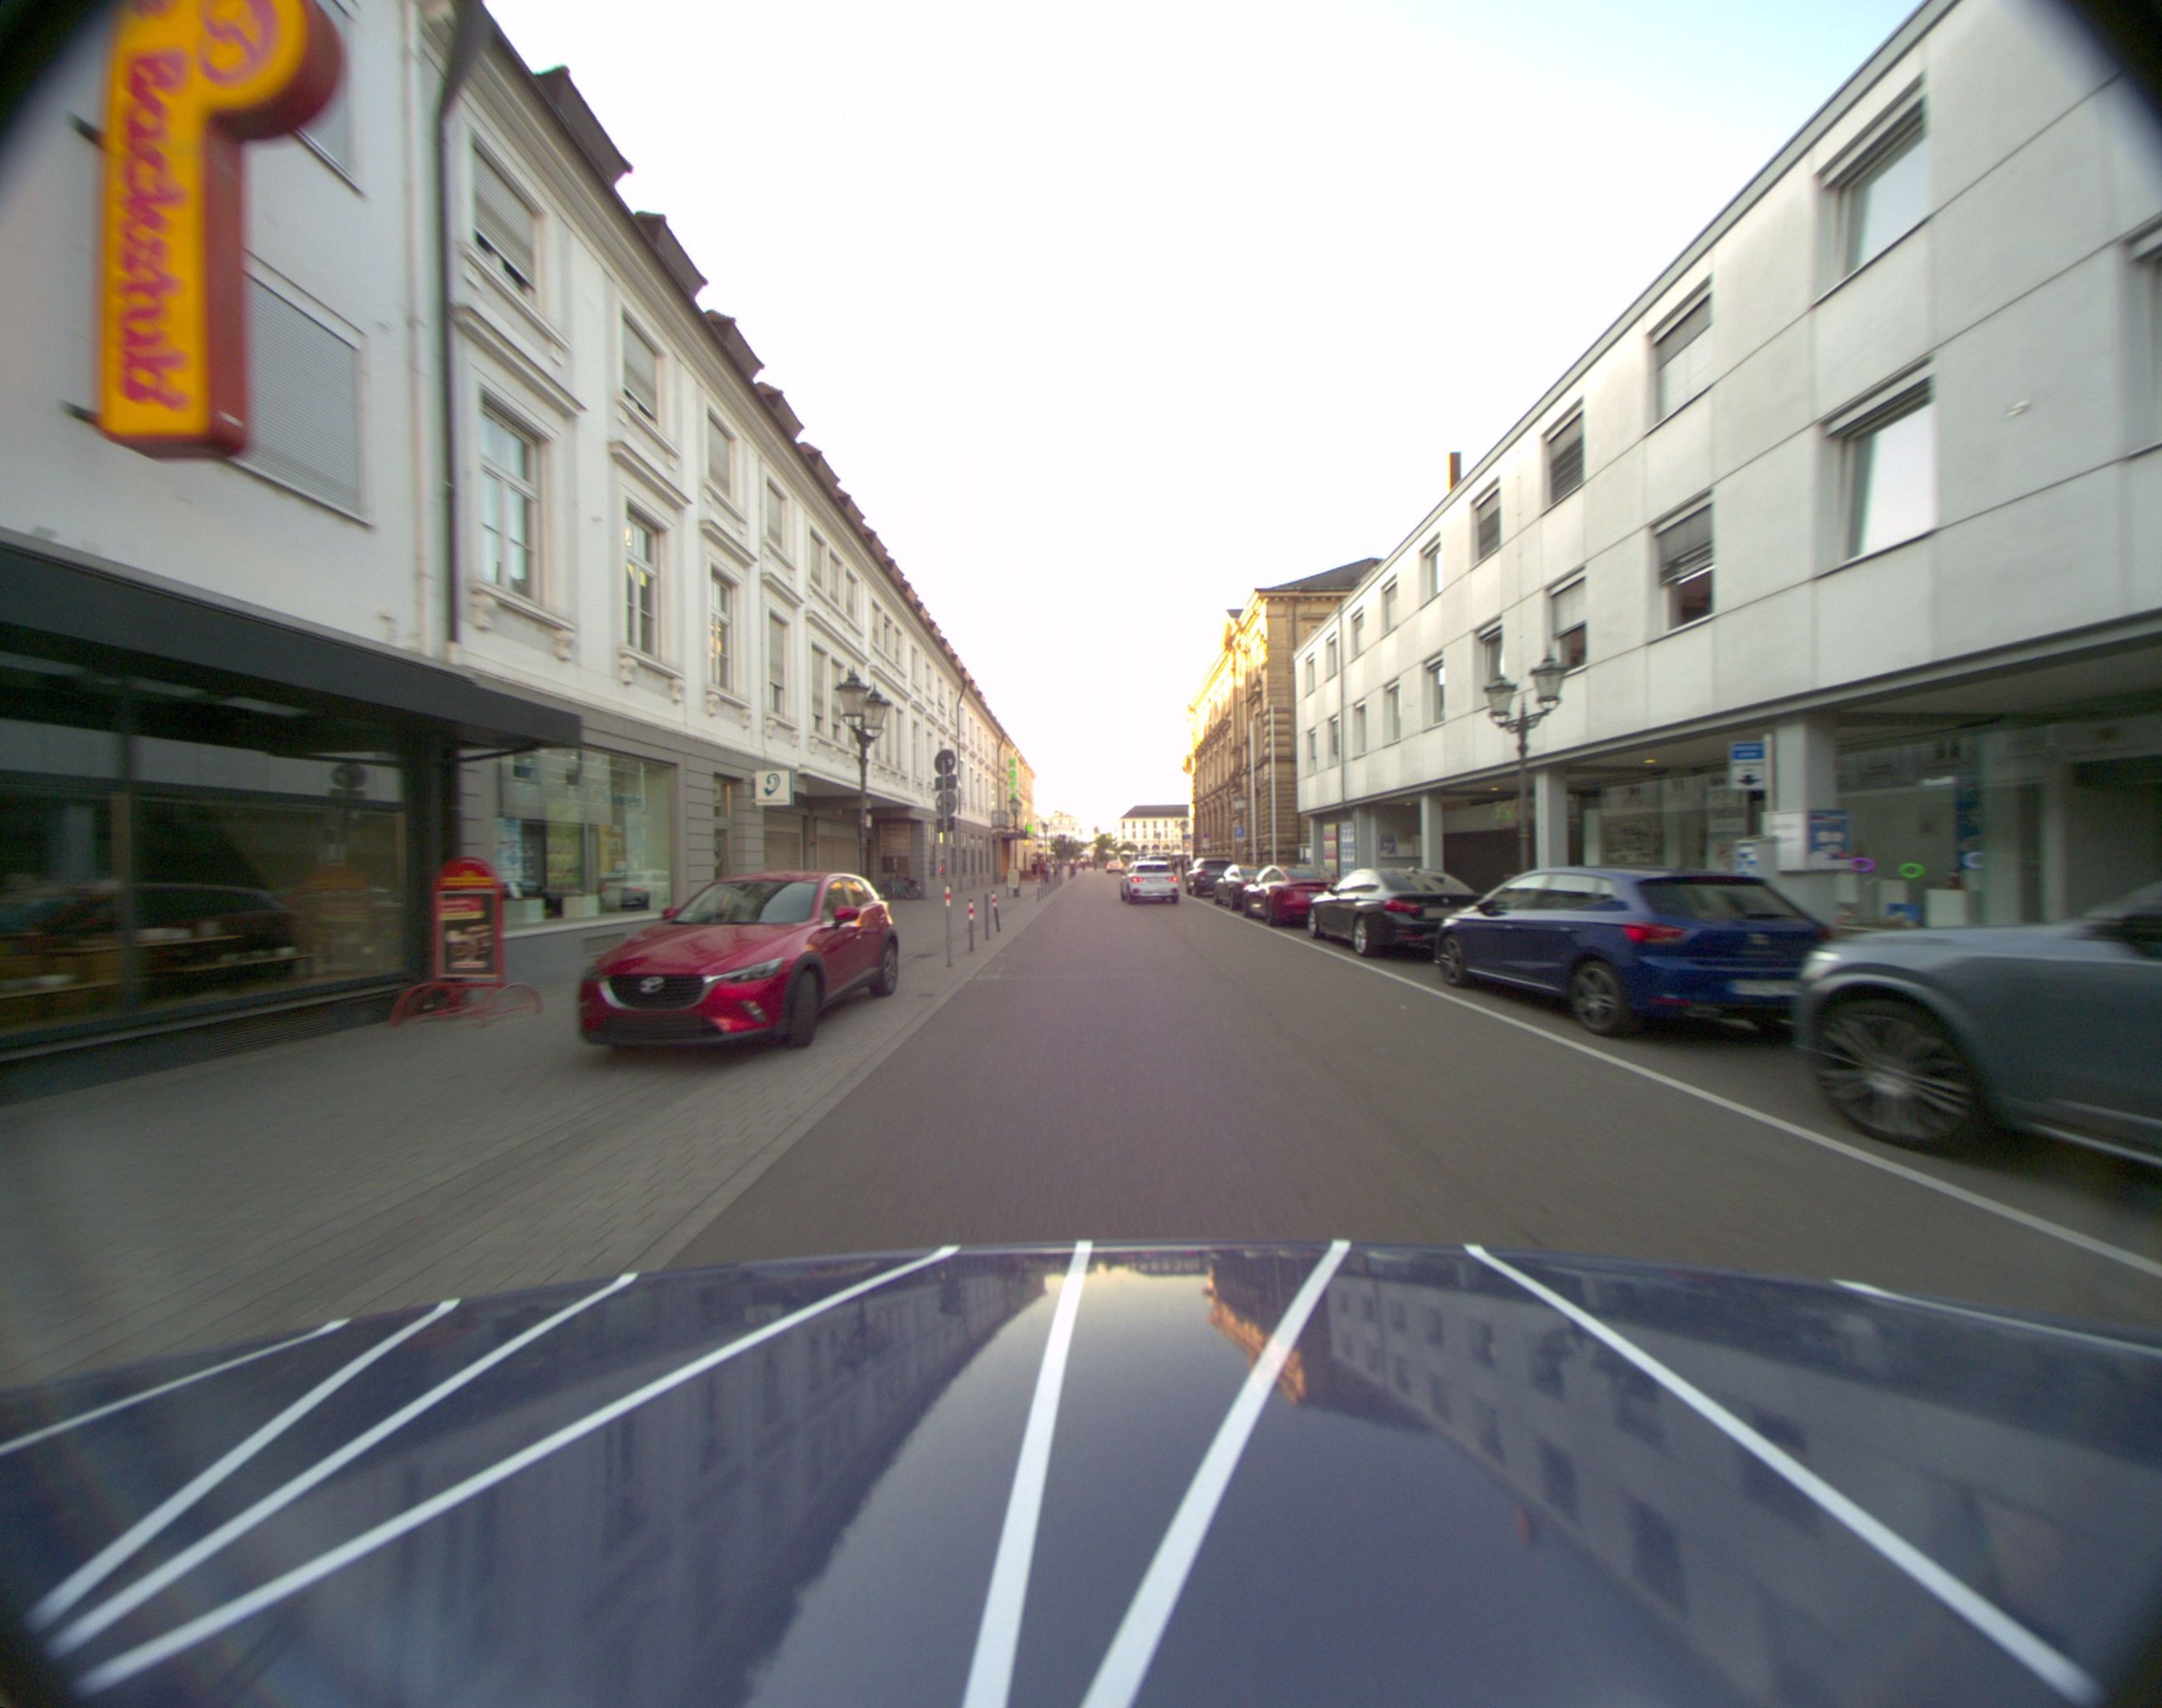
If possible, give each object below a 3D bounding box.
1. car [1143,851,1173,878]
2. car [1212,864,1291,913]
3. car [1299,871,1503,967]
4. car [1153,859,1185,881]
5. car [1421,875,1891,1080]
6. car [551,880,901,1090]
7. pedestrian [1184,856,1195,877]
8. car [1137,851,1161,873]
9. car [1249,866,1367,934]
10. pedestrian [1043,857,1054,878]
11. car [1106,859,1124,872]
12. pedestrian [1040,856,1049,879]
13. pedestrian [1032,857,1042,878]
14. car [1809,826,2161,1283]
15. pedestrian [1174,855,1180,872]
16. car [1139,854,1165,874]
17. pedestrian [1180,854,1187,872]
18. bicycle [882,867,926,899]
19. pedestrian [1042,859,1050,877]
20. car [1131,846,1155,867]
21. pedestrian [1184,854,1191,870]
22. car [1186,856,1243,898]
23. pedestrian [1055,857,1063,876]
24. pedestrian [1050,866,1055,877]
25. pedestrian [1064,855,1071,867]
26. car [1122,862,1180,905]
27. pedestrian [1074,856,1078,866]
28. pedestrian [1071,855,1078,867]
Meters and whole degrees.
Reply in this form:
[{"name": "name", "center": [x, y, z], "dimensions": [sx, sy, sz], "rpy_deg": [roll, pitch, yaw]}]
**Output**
[{"name": "car", "center": [6.311, 0.843, 62.994], "dimensions": [1.998, 2.065, 4.989], "rpy_deg": [-1, 1, 1]}, {"name": "car", "center": [5.472, 1.064, 24.836], "dimensions": [1.789, 1.400, 4.089], "rpy_deg": [-1, 0, 2]}, {"name": "car", "center": [5.377, 1.014, 13.413], "dimensions": [1.998, 1.346, 4.000], "rpy_deg": [0, 0, 2]}, {"name": "car", "center": [6.455, 1.151, 56.405], "dimensions": [1.998, 1.486, 4.165], "rpy_deg": [-1, 0, 2]}, {"name": "car", "center": [5.110, 0.959, 7.566], "dimensions": [1.677, 1.392, 4.000], "rpy_deg": [0, 0, 1]}, {"name": "car", "center": [-3.209, 1.084, 7.770], "dimensions": [1.763, 1.514, 3.678], "rpy_deg": [0, 0, 2]}, {"name": "pedestrian", "center": [8.951, 1.019, 62.872], "dimensions": [0.715, 1.720, 0.896], "rpy_deg": [-4, 0, 3]}, {"name": "car", "center": [6.655, 0.744, 74.850], "dimensions": [1.998, 2.075, 5.207], "rpy_deg": [-1, 0, 2]}, {"name": "car", "center": [5.374, 1.032, 18.551], "dimensions": [1.789, 1.400, 4.089], "rpy_deg": [-1, 0, 2]}, {"name": "pedestrian", "center": [-2.672, 1.100, 62.281], "dimensions": [0.749, 1.720, 0.881], "rpy_deg": [-1, 0, 5]}, {"name": "car", "center": [3.873, 1.337, 87.374], "dimensions": [1.789, 1.400, 4.088], "rpy_deg": [-1, 0, -1]}, {"name": "pedestrian", "center": [-2.942, 1.075, 61.115], "dimensions": [0.621, 1.779, 0.914], "rpy_deg": [-1, 0, 3]}, {"name": "pedestrian", "center": [-3.570, 1.113, 61.885], "dimensions": [0.715, 1.720, 0.873], "rpy_deg": [-1, 0, 3]}, {"name": "car", "center": [5.042, 0.755, 2.001], "dimensions": [1.998, 1.718, 4.516], "rpy_deg": [0, 0, 2]}, {"name": "pedestrian", "center": [9.566, 0.948, 75.755], "dimensions": [0.583, 1.720, 0.831], "rpy_deg": [-1, 0, 3]}, {"name": "car", "center": [6.410, 0.898, 69.251], "dimensions": [1.998, 1.742, 4.990], "rpy_deg": [-1, 0, 1]}, {"name": "pedestrian", "center": [10.227, 0.891, 75.740], "dimensions": [0.608, 1.720, 0.703], "rpy_deg": [-1, 0, 3]}, {"name": "bicycle", "center": [-7.307, 1.197, 31.377], "dimensions": [1.661, 1.245, 0.439], "rpy_deg": [-1, 0, -1]}, {"name": "pedestrian", "center": [-3.218, 1.253, 69.211], "dimensions": [0.631, 1.591, 0.615], "rpy_deg": [-1, 0, 3]}, {"name": "car", "center": [6.625, 0.247, 81.758], "dimensions": [1.999, 2.158, 5.206], "rpy_deg": [-1, 0, -1]}, {"name": "pedestrian", "center": [11.218, 0.859, 80.175], "dimensions": [0.575, 1.720, 0.744], "rpy_deg": [-1, 0, 3]}, {"name": "car", "center": [5.454, 0.894, 31.495], "dimensions": [1.789, 1.605, 4.166], "rpy_deg": [-1, 0, 2]}, {"name": "pedestrian", "center": [-2.036, 1.155, 69.615], "dimensions": [0.608, 1.720, 0.558], "rpy_deg": [-1, 0, 3]}, {"name": "pedestrian", "center": [-2.580, 1.548, 68.950], "dimensions": [0.461, 0.974, 0.558], "rpy_deg": [-1, 0, 3]}, {"name": "pedestrian", "center": [-1.932, 1.078, 109.968], "dimensions": [0.607, 1.720, 0.719], "rpy_deg": [-1, 0, 44]}, {"name": "car", "center": [2.464, 1.021, 27.539], "dimensions": [1.768, 1.413, 4.000], "rpy_deg": [0, 0, 0]}, {"name": "pedestrian", "center": [-0.774, 1.060, 117.308], "dimensions": [0.683, 1.557, 0.653], "rpy_deg": [-1, 0, -1]}, {"name": "pedestrian", "center": [-0.929, 1.005, 109.945], "dimensions": [0.667, 1.720, 0.767], "rpy_deg": [-1, 0, 44]}]
